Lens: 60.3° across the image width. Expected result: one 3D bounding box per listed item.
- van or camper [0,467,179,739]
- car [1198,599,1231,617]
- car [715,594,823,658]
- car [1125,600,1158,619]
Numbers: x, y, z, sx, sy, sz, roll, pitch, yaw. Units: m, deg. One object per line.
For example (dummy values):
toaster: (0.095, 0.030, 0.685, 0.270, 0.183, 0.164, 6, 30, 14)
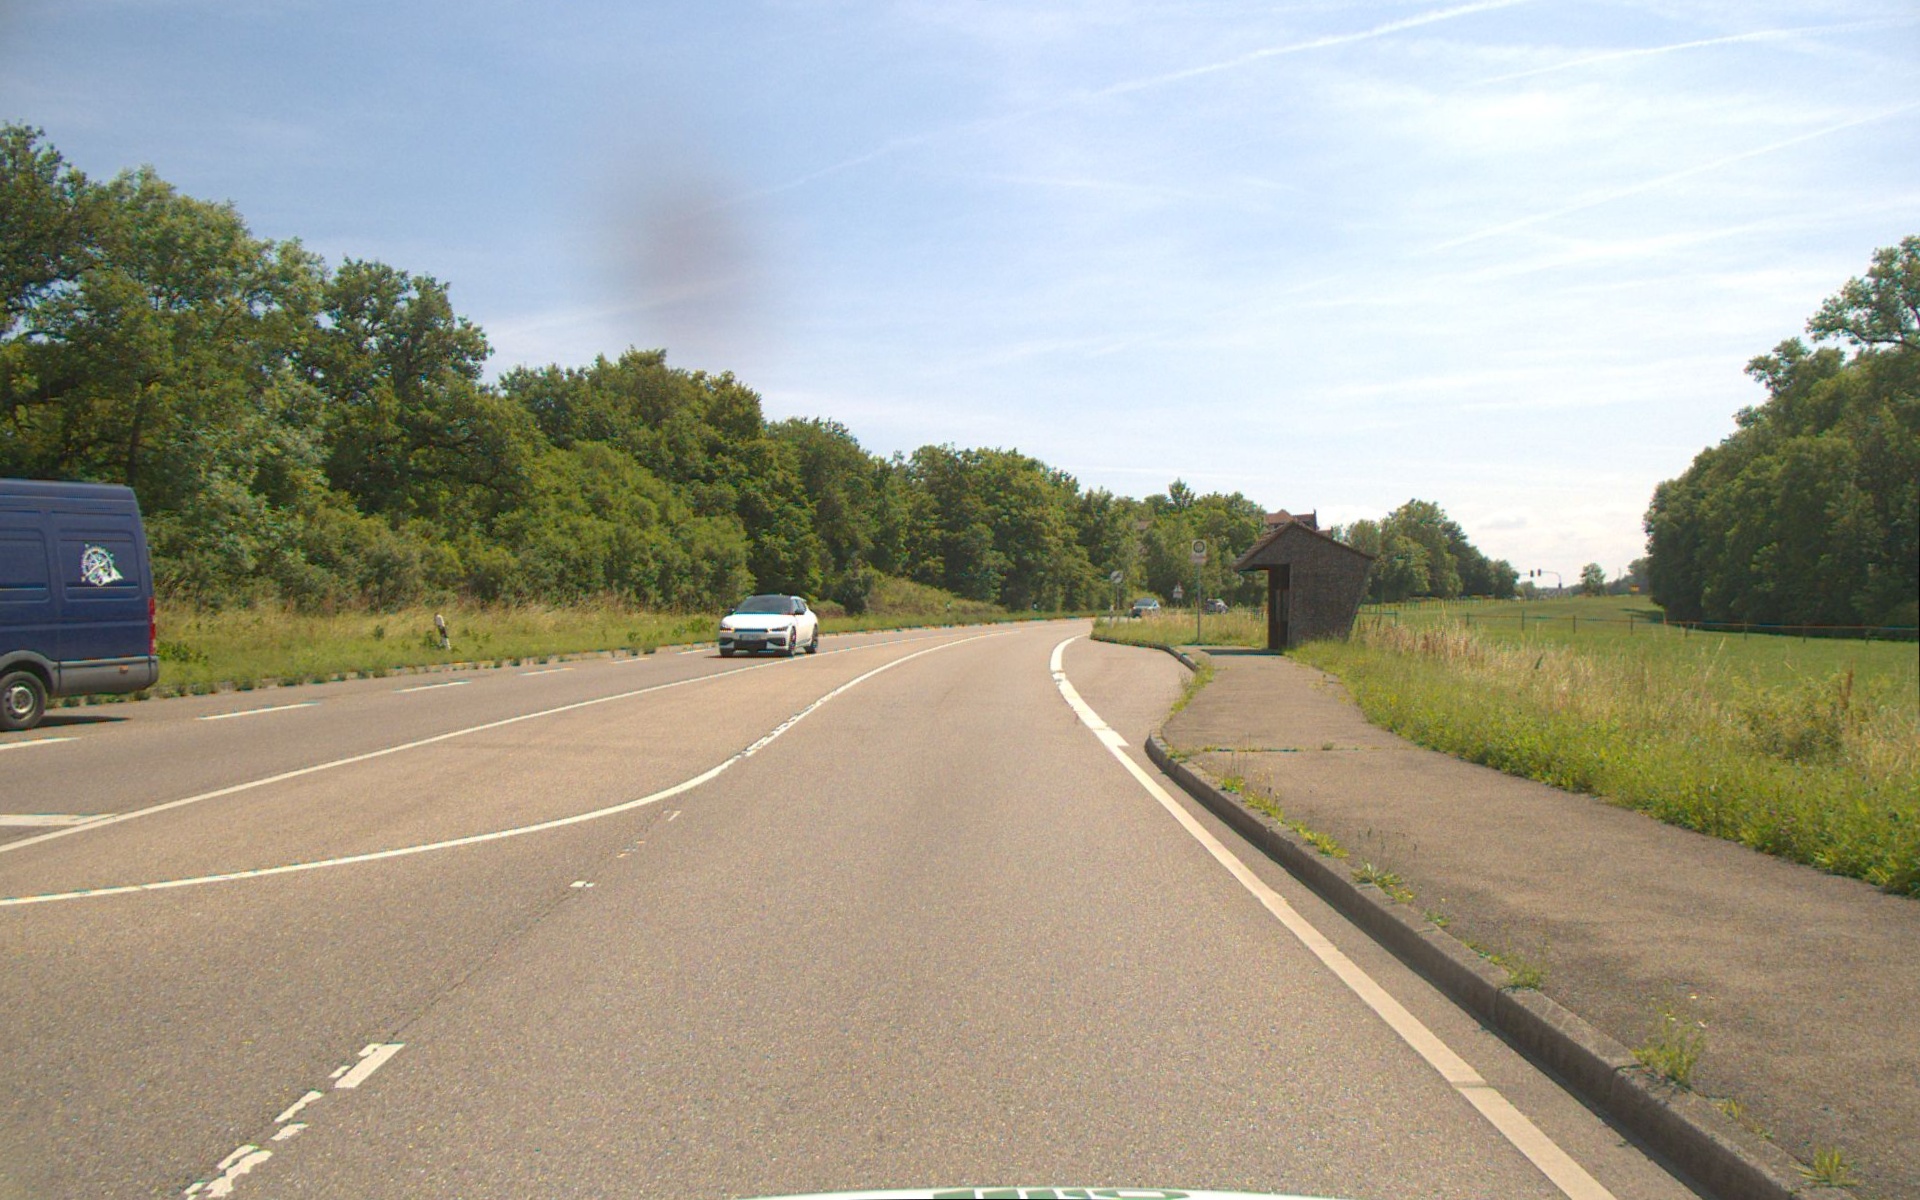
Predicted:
van or camper: (-11.875, 0.052, 17.333, 2.193, 2.965, 7.249, 0, 1, 20)
car: (23.015, 0.698, 149.362, 1.953, 1.601, 3.998, 0, 0, 24)
car: (-4.952, 0.659, 43.436, 1.896, 1.575, 4.630, 0, 0, 5)
car: (14.969, 0.807, 136.184, 1.718, 1.561, 4.229, 0, 0, 20)
